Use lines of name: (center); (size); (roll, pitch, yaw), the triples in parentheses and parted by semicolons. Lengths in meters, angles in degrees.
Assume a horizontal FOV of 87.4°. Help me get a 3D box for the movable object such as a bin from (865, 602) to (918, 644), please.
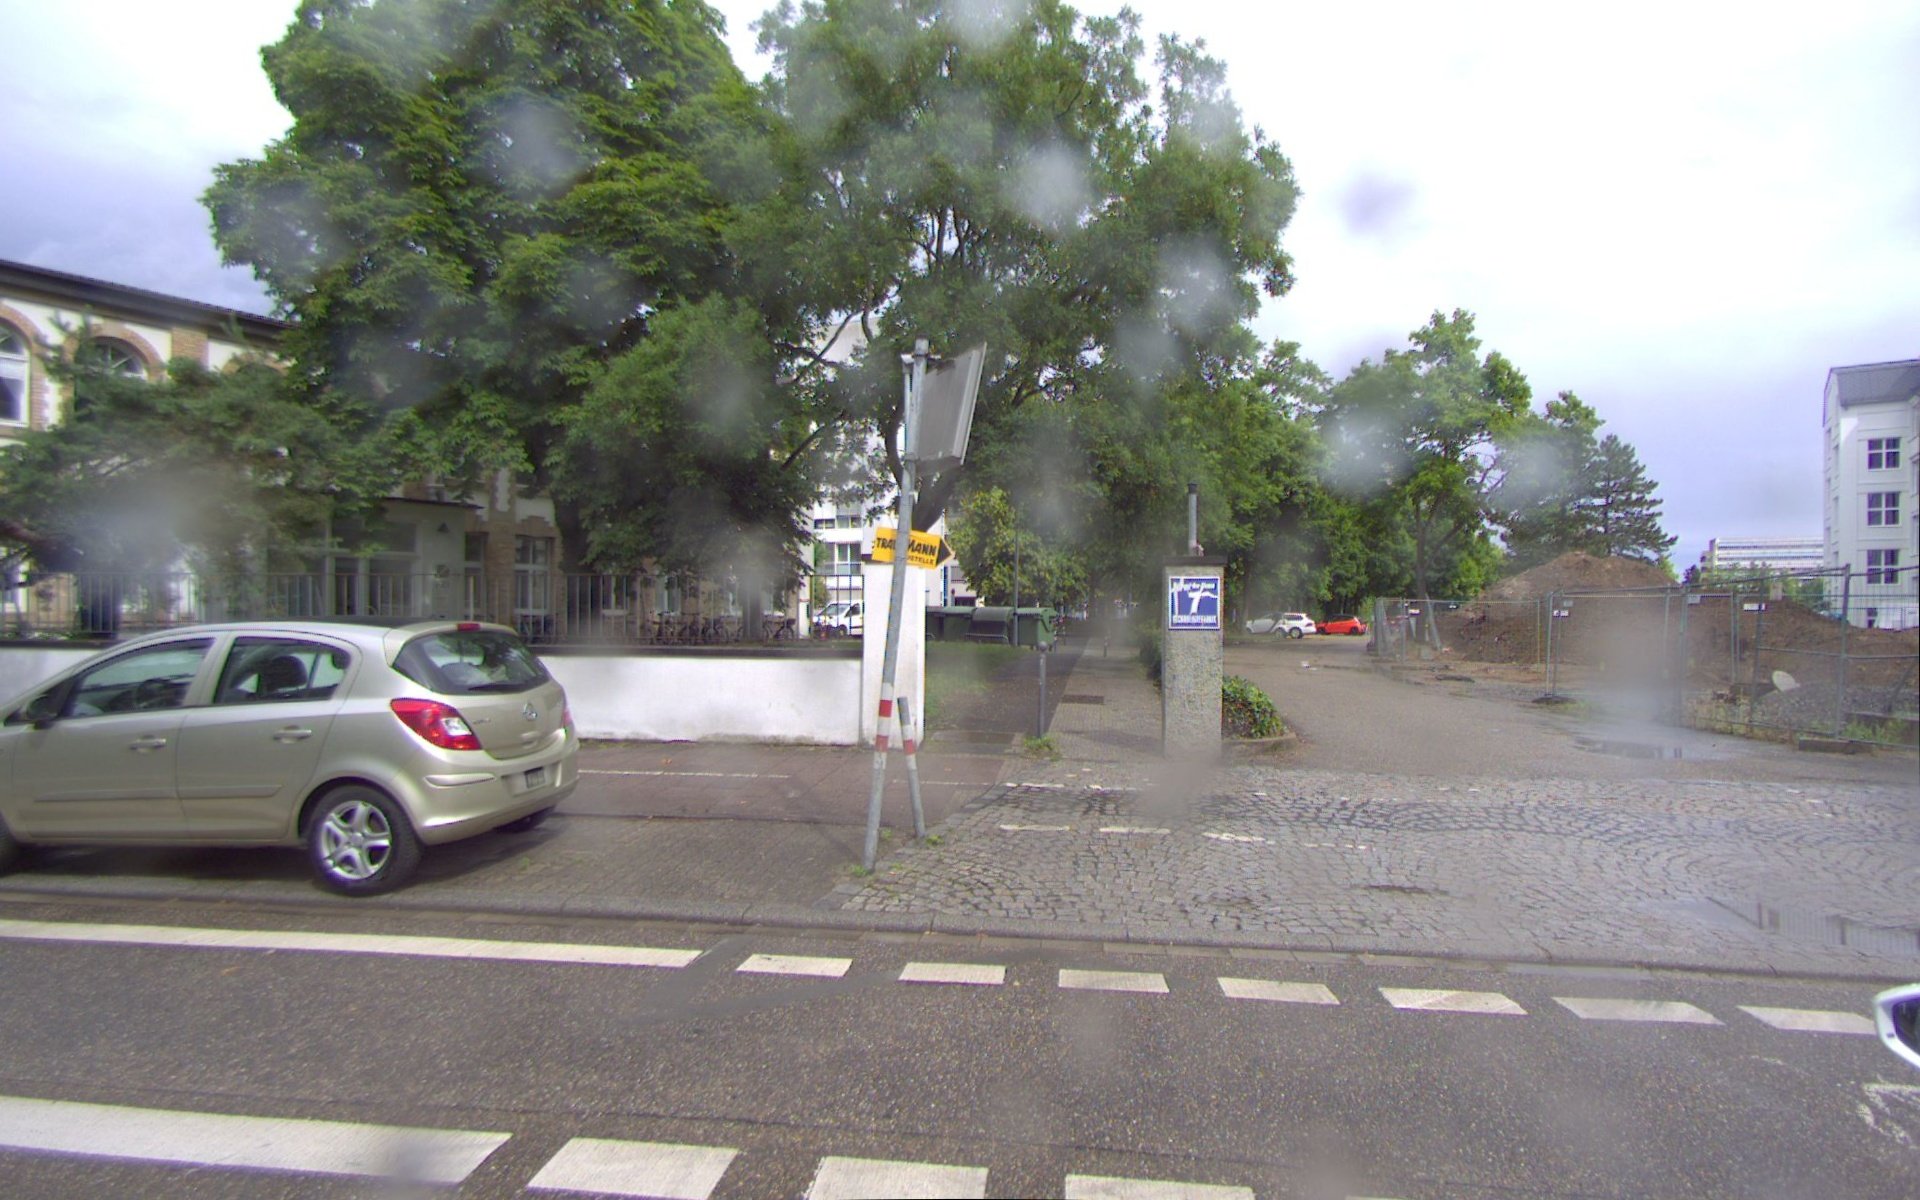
movable object such as a bin: (-2.518, 0.832, 37.043); (1.566, 1.503, 1.166); (0, 1, 29)

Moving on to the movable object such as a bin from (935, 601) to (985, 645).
movable object such as a bin: (0.004, 0.800, 35.385); (1.378, 1.503, 1.166); (1, 0, 30)

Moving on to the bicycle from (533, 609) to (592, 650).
bicycle: (-11.402, 0.836, 28.802); (1.894, 1.131, 0.615); (-1, 0, 35)

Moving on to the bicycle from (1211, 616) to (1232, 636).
bicycle: (12.095, 1.193, 46.442); (0.469, 0.872, 1.451); (2, 2, 34)

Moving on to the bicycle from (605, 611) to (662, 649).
bicycle: (-10.059, 0.909, 30.917); (1.894, 1.131, 0.615); (-1, 0, 35)

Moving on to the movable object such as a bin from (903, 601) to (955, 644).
movable object such as a bin: (-1.111, 0.807, 36.343); (1.470, 1.503, 1.166); (0, 1, 29)

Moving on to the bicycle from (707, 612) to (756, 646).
bicycle: (-7.813, 0.977, 34.325); (1.758, 1.131, 0.615); (-1, 0, 35)

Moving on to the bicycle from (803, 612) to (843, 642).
bicycle: (-5.225, 1.026, 38.313); (1.495, 1.131, 0.615); (-1, 0, 35)

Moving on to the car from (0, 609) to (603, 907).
car: (-4.405, 0.828, 6.236); (3.755, 1.479, 1.691); (0, 1, 6)

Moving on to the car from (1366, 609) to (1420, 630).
car: (36.409, 1.613, 84.383); (3.930, 1.581, 1.759); (2, 2, 32)

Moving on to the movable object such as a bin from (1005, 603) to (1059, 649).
movable object such as a bin: (2.413, 0.872, 33.770); (1.465, 1.492, 1.098); (0, -2, 45)

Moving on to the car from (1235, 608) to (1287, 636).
car: (17.182, 1.236, 57.290); (2.709, 1.504, 1.592); (0, 1, 22)

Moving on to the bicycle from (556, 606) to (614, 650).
bicycle: (-10.961, 0.804, 29.346); (1.894, 1.193, 0.615); (1, 1, 35)

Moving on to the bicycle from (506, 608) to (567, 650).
bicycle: (-11.764, 0.799, 27.869); (1.894, 1.131, 0.615); (-1, 0, 35)

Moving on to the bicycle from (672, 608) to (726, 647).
bicycle: (-8.602, 0.885, 33.081); (1.894, 1.241, 0.615); (-1, 0, 35)

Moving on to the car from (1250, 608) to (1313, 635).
car: (18.904, 1.234, 59.056); (3.376, 1.488, 1.739); (0, 1, 22)

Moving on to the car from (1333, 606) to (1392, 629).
car: (30.138, 1.297, 75.273); (3.742, 1.550, 1.903); (2, 2, 35)

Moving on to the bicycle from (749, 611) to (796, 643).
bicycle: (-6.727, 0.963, 35.993); (1.758, 1.131, 0.615); (-1, 0, 35)

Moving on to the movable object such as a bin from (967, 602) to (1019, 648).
movable object such as a bin: (1.127, 0.838, 34.535); (1.377, 1.503, 1.166); (2, 0, 28)

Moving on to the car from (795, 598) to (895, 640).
car: (-5.535, 0.957, 48.922); (2.065, 1.951, 4.872); (-1, -2, 36)

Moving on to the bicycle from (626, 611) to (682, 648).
bicycle: (-9.591, 0.920, 31.477); (1.894, 1.131, 0.615); (-1, 0, 35)

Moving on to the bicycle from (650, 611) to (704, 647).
bicycle: (-9.119, 0.917, 32.314); (1.894, 1.131, 0.615); (-1, 0, 35)

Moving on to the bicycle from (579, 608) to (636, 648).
bicycle: (-10.561, 0.829, 30.044); (1.894, 1.131, 0.615); (-1, 0, 35)

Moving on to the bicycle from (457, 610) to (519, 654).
bicycle: (-12.550, 0.847, 26.666); (1.894, 1.131, 0.615); (-1, 0, 35)

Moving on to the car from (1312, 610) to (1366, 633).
car: (27.027, 1.506, 71.656); (3.242, 1.444, 1.586); (2, 2, 37)
